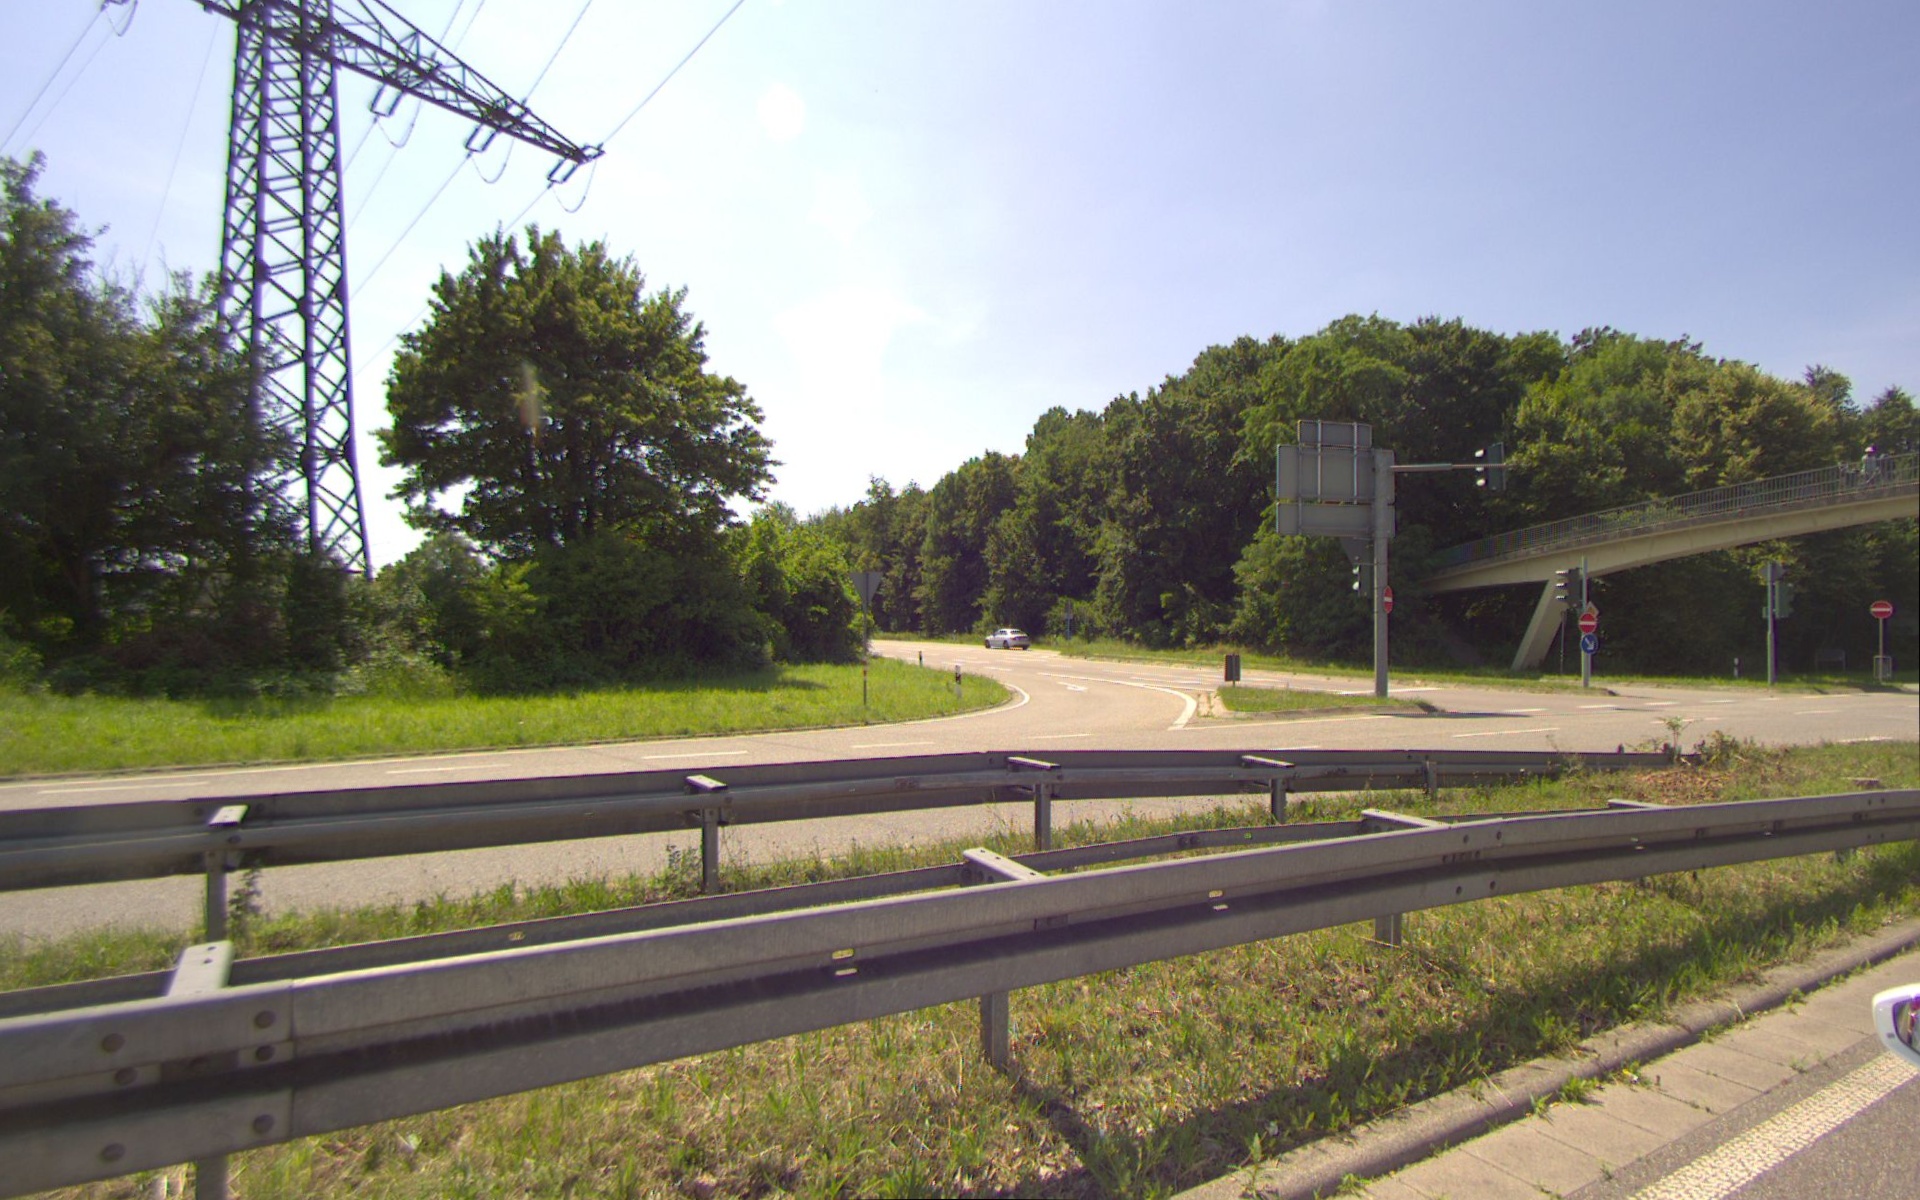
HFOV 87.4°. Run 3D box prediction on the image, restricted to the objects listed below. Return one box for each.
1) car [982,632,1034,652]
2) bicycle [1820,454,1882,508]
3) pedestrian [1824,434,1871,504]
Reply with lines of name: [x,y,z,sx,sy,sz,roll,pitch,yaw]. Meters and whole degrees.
car: [3.466,3.010,73.084,1.971,1.391,4.758,1,-2,-22]
bicycle: [29.531,-3.925,33.312,0.462,1.493,1.528,2,-4,-14]
pedestrian: [29.793,-4.385,33.722,0.916,2.167,0.783,2,-3,-14]
